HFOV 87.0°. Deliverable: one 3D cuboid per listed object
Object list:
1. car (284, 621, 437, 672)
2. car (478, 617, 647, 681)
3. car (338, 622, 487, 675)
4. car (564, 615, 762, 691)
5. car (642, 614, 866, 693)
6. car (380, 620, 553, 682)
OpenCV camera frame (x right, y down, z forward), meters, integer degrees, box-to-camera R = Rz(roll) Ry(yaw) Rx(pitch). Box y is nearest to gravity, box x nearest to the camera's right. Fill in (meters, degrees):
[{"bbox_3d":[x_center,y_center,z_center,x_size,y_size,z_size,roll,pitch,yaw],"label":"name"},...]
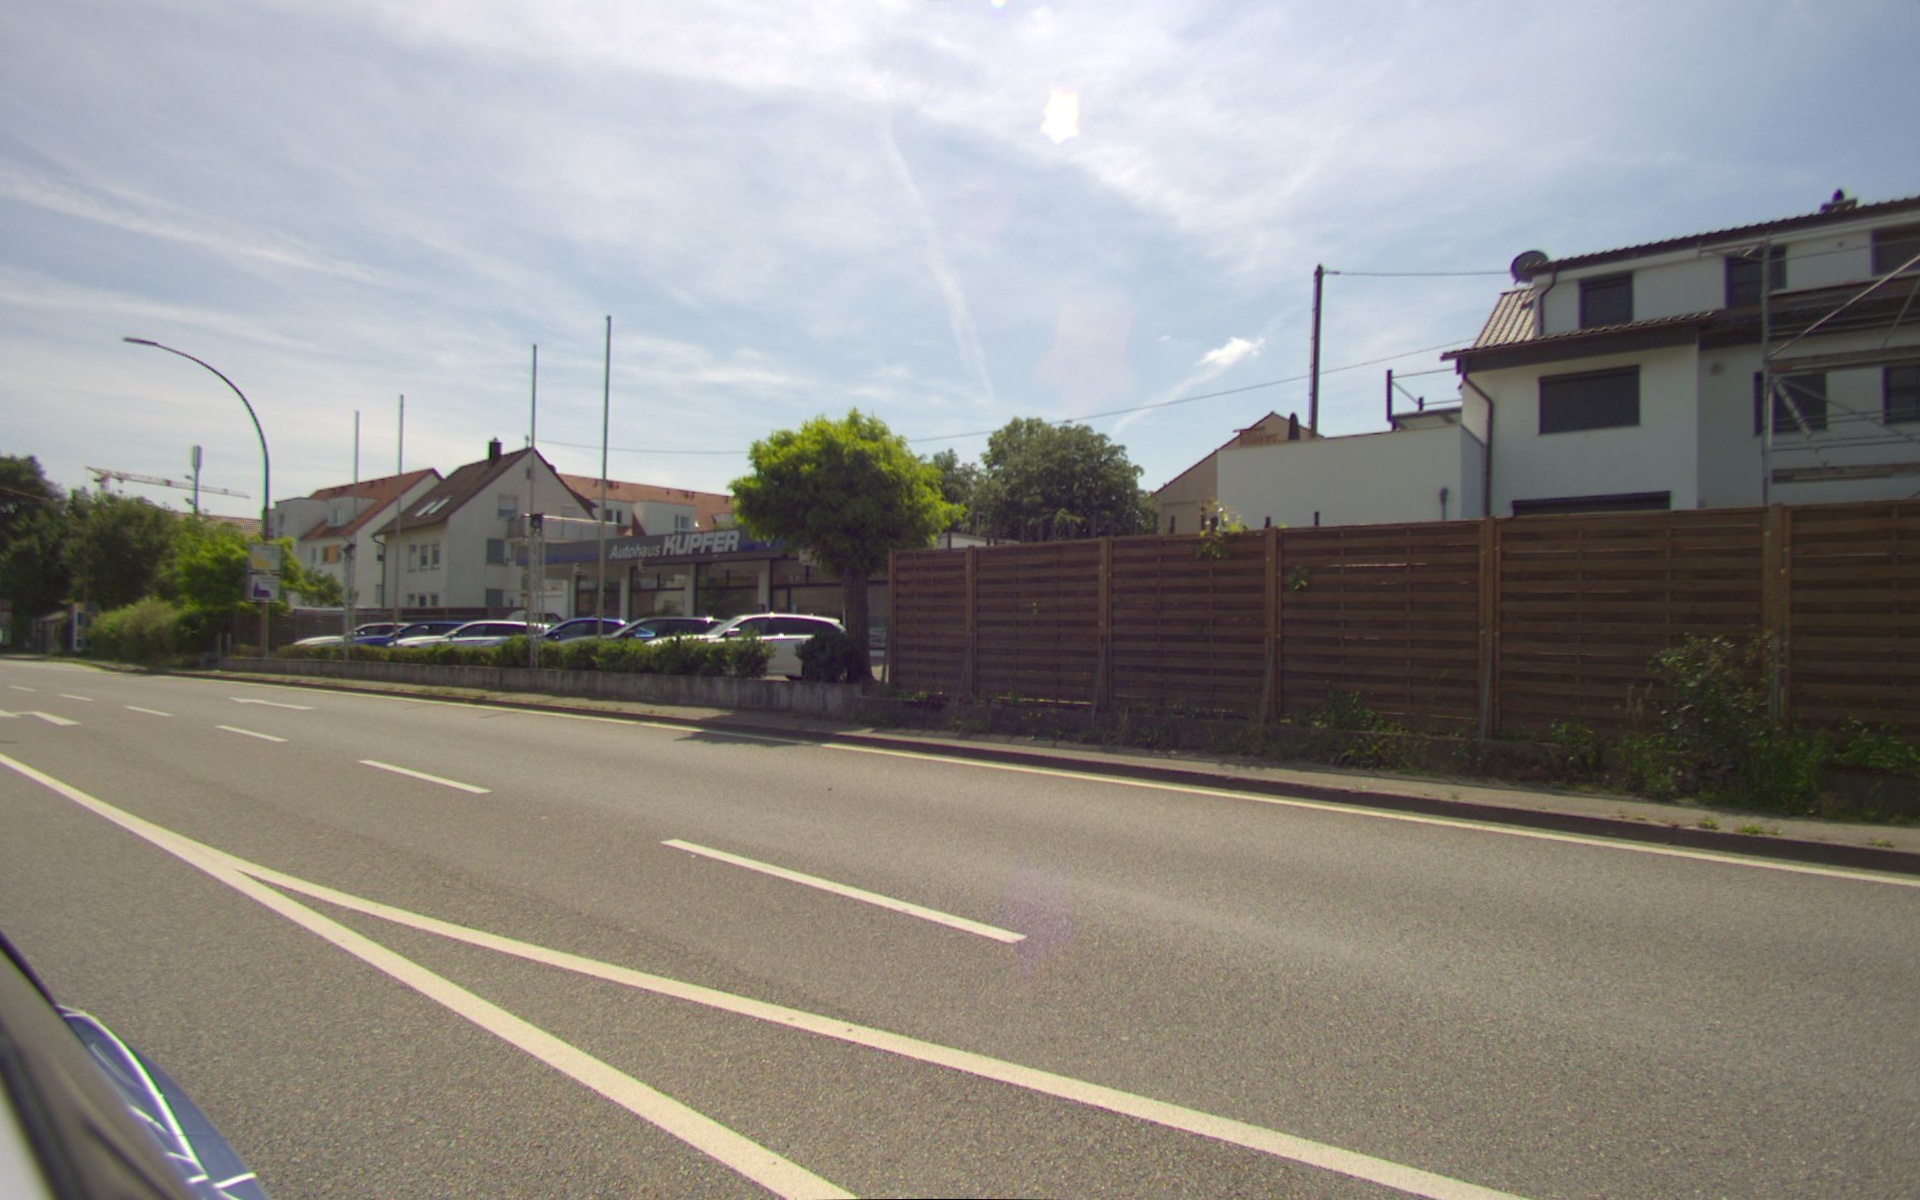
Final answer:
[{"bbox_3d":[-20.064,1.517,34.099,4.192,1.541,2.007,-1,-1,-24],"label":"car"},{"bbox_3d":[-10.268,1.218,26.154,3.931,1.453,1.860,-1,-1,-25],"label":"car"},{"bbox_3d":[-16.974,1.484,31.608,3.930,1.475,2.007,-1,-1,-24],"label":"car"},{"bbox_3d":[-6.978,1.189,23.799,4.187,1.557,1.856,-1,-1,-27],"label":"car"},{"bbox_3d":[-4.322,1.061,21.240,4.264,1.471,1.861,0,-1,-26],"label":"car"},{"bbox_3d":[-13.852,1.393,28.659,4.239,1.530,2.006,-1,-1,-23],"label":"car"}]
